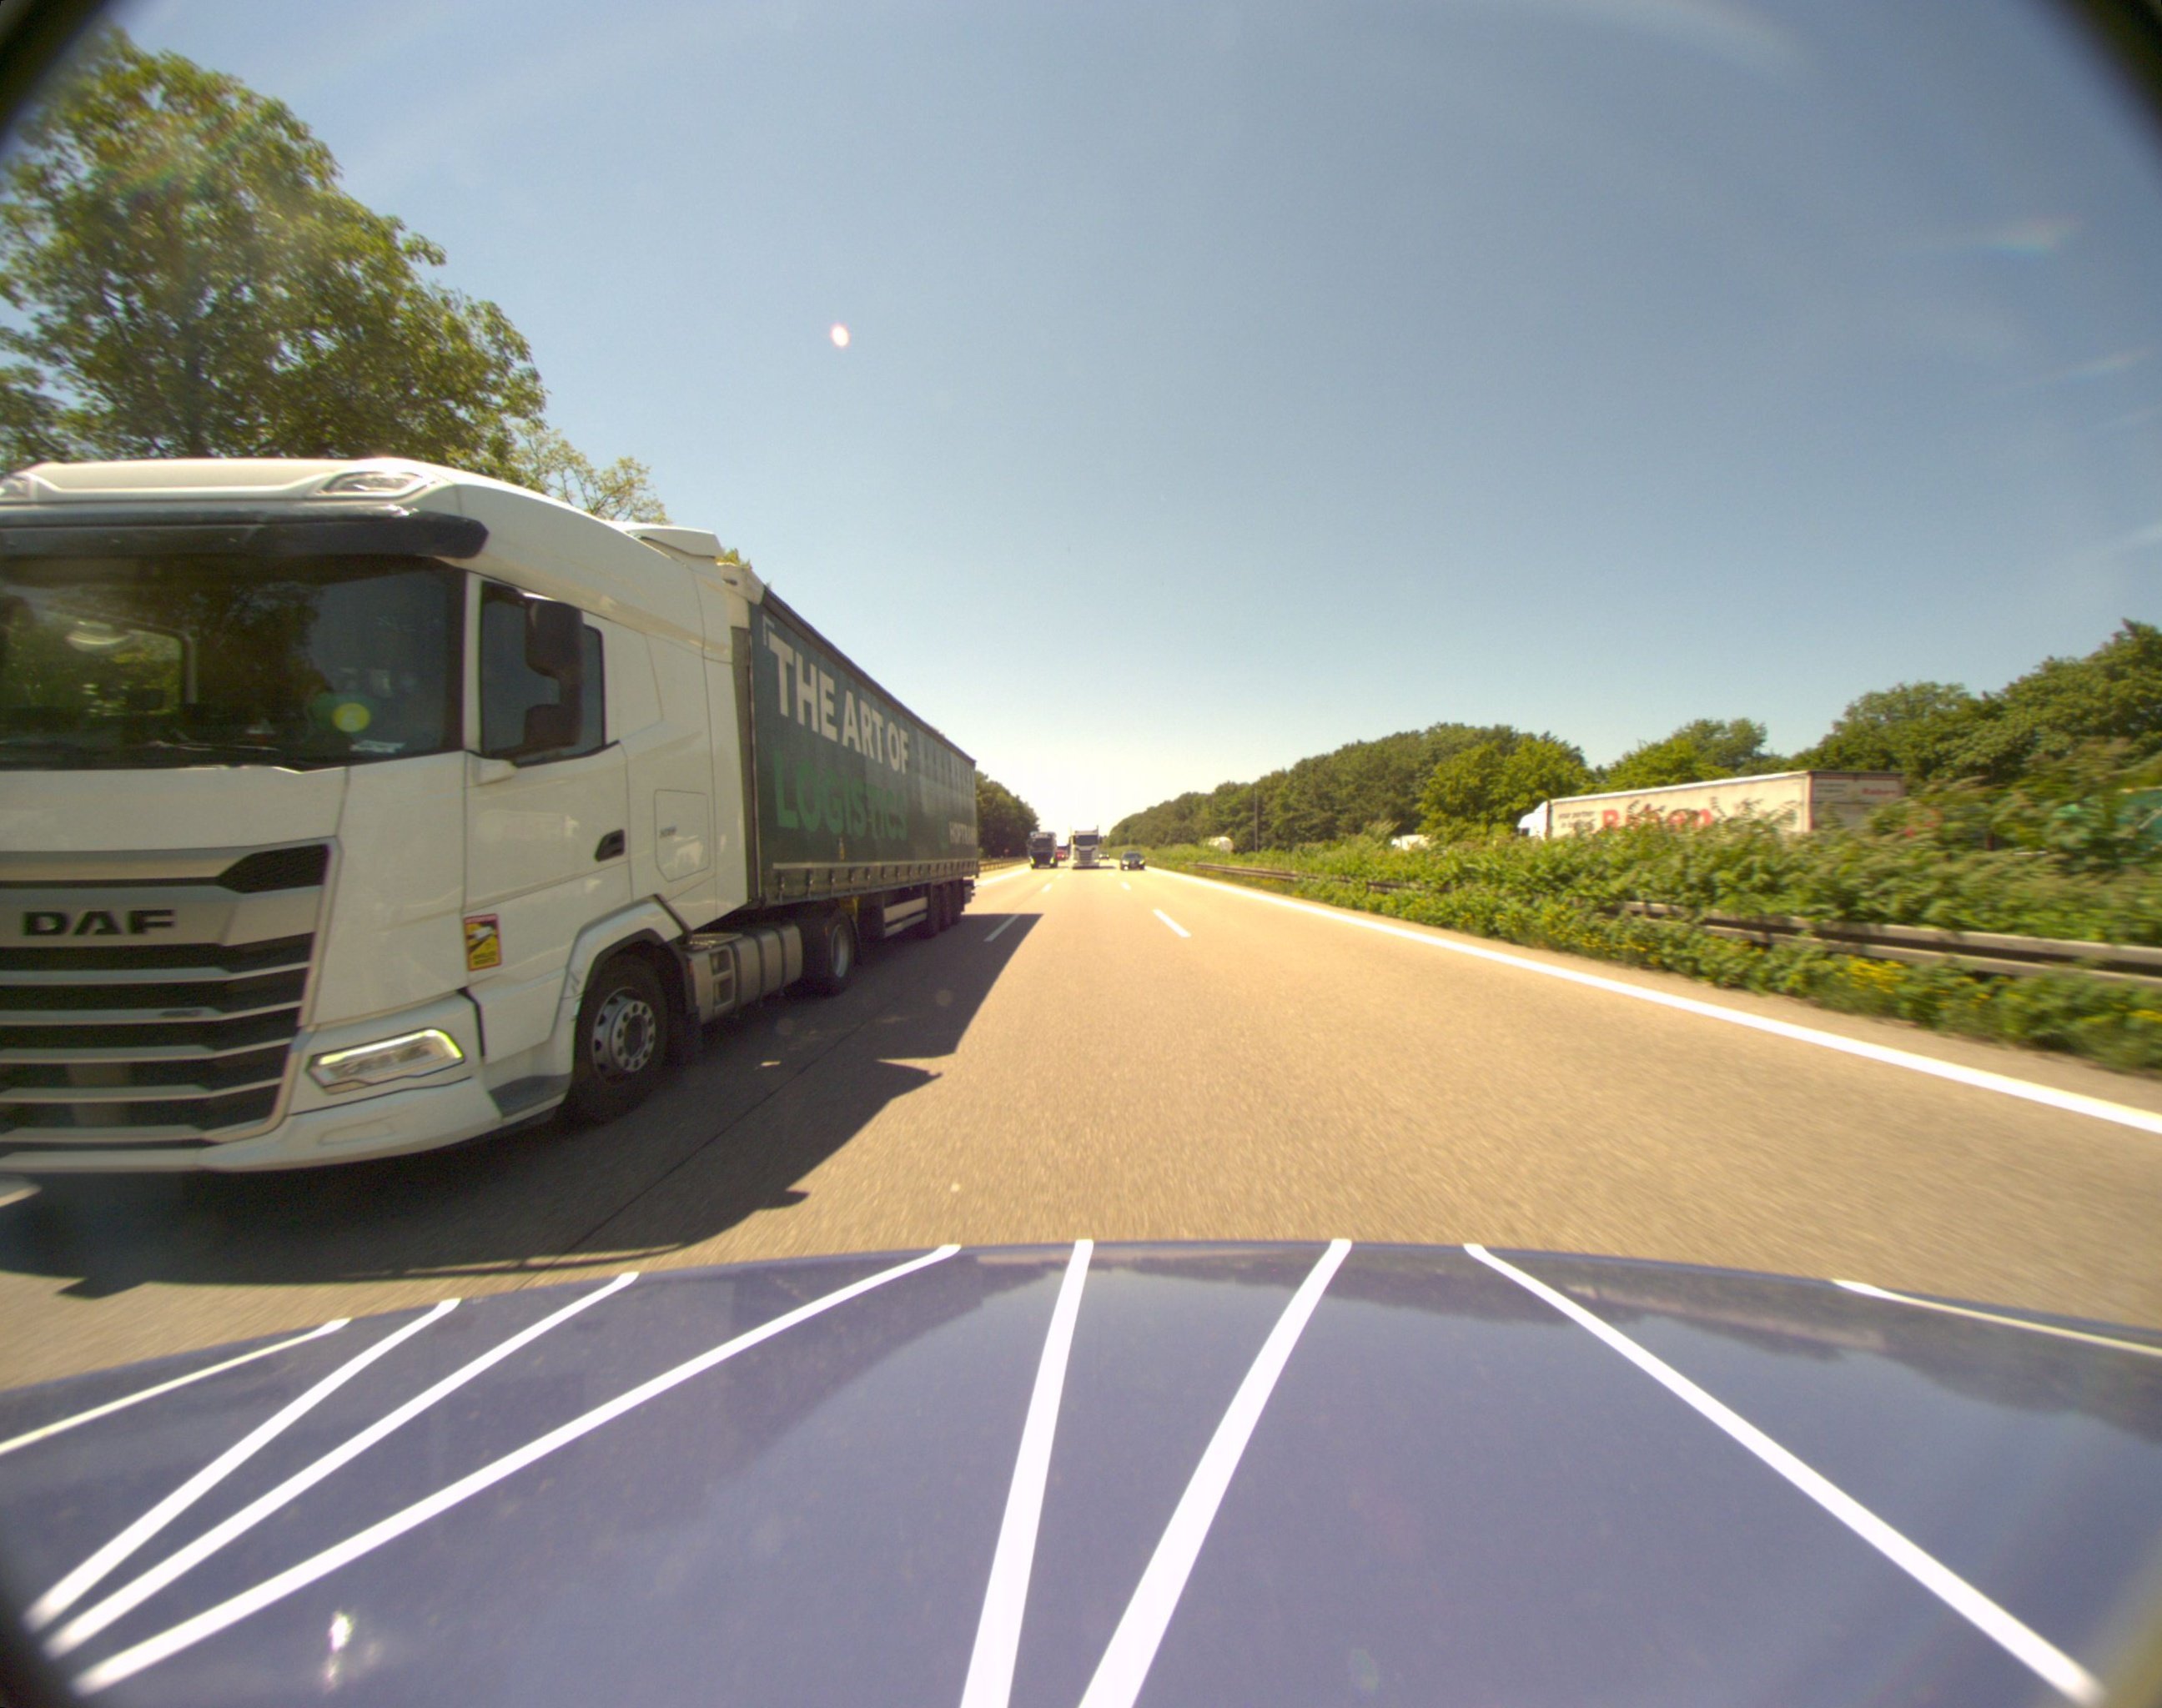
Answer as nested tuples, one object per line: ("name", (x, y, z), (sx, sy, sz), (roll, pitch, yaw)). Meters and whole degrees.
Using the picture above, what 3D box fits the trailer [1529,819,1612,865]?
("trailer", (47.988, -1.150, 74.762), (3.612, 4.239, 6.591), (0, 1, -5))

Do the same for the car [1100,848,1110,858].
("car", (4.291, -0.236, 135.584), (1.806, 1.774, 4.000), (-1, 1, 1))

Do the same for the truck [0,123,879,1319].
("truck", (-4.071, -0.455, 6.166), (2.863, 4.247, 6.863), (-2, 1, 0))

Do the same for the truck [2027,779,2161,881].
("truck", (50.415, -1.112, 36.148), (3.609, 4.565, 5.758), (0, 1, 2))

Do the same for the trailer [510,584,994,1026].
("trailer", (-4.077, -0.549, 14.974), (2.863, 4.247, 14.978), (-2, 1, 0))

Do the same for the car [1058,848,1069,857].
("car", (-2.987, -0.229, 132.267), (1.811, 1.612, 4.000), (0, 1, 1))

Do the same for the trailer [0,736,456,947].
("trailer", (-25.406, -0.225, 22.750), (3.394, 4.437, 14.347), (-2, 1, -9))

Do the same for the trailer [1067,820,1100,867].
("trailer", (0.266, -1.020, 75.460), (2.863, 4.247, 11.470), (-2, 1, 1))

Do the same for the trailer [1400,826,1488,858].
("trailer", (50.838, -1.622, 107.239), (3.613, 4.239, 14.008), (0, 1, -11))

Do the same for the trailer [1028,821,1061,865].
("trailer", (-3.733, -1.107, 80.214), (2.863, 4.247, 11.470), (-1, 1, 0))

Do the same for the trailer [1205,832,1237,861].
("trailer", (21.052, -1.129, 115.030), (2.889, 4.239, 10.838), (0, 1, 0))

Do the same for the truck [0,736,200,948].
("truck", (-24.303, -0.195, 15.988), (3.394, 4.437, 7.382), (-2, 1, -9))

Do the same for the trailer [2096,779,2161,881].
("trailer", (50.161, -1.061, 29.283), (3.609, 4.565, 14.023), (0, 0, 2))

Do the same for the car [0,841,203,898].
("car", (-33.725, 0.453, 25.971), (2.147, 1.743, 4.865), (1, 1, -7))

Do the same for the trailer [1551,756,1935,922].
("trailer", (20.971, -0.454, 25.730), (2.910, 4.247, 11.487), (-2, 1, 0))

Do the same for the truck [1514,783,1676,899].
("truck", (20.968, -0.515, 31.438), (2.910, 4.247, 5.492), (-2, 1, 0))

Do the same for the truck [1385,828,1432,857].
("truck", (49.369, -1.670, 114.770), (3.613, 4.239, 6.262), (0, 1, -11))

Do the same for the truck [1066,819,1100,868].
("truck", (0.213, -0.954, 69.515), (2.863, 4.247, 5.410), (-2, 1, 1))

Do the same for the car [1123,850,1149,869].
("car", (4.423, 0.453, 61.226), (1.811, 1.399, 4.000), (-2, 1, 1))
